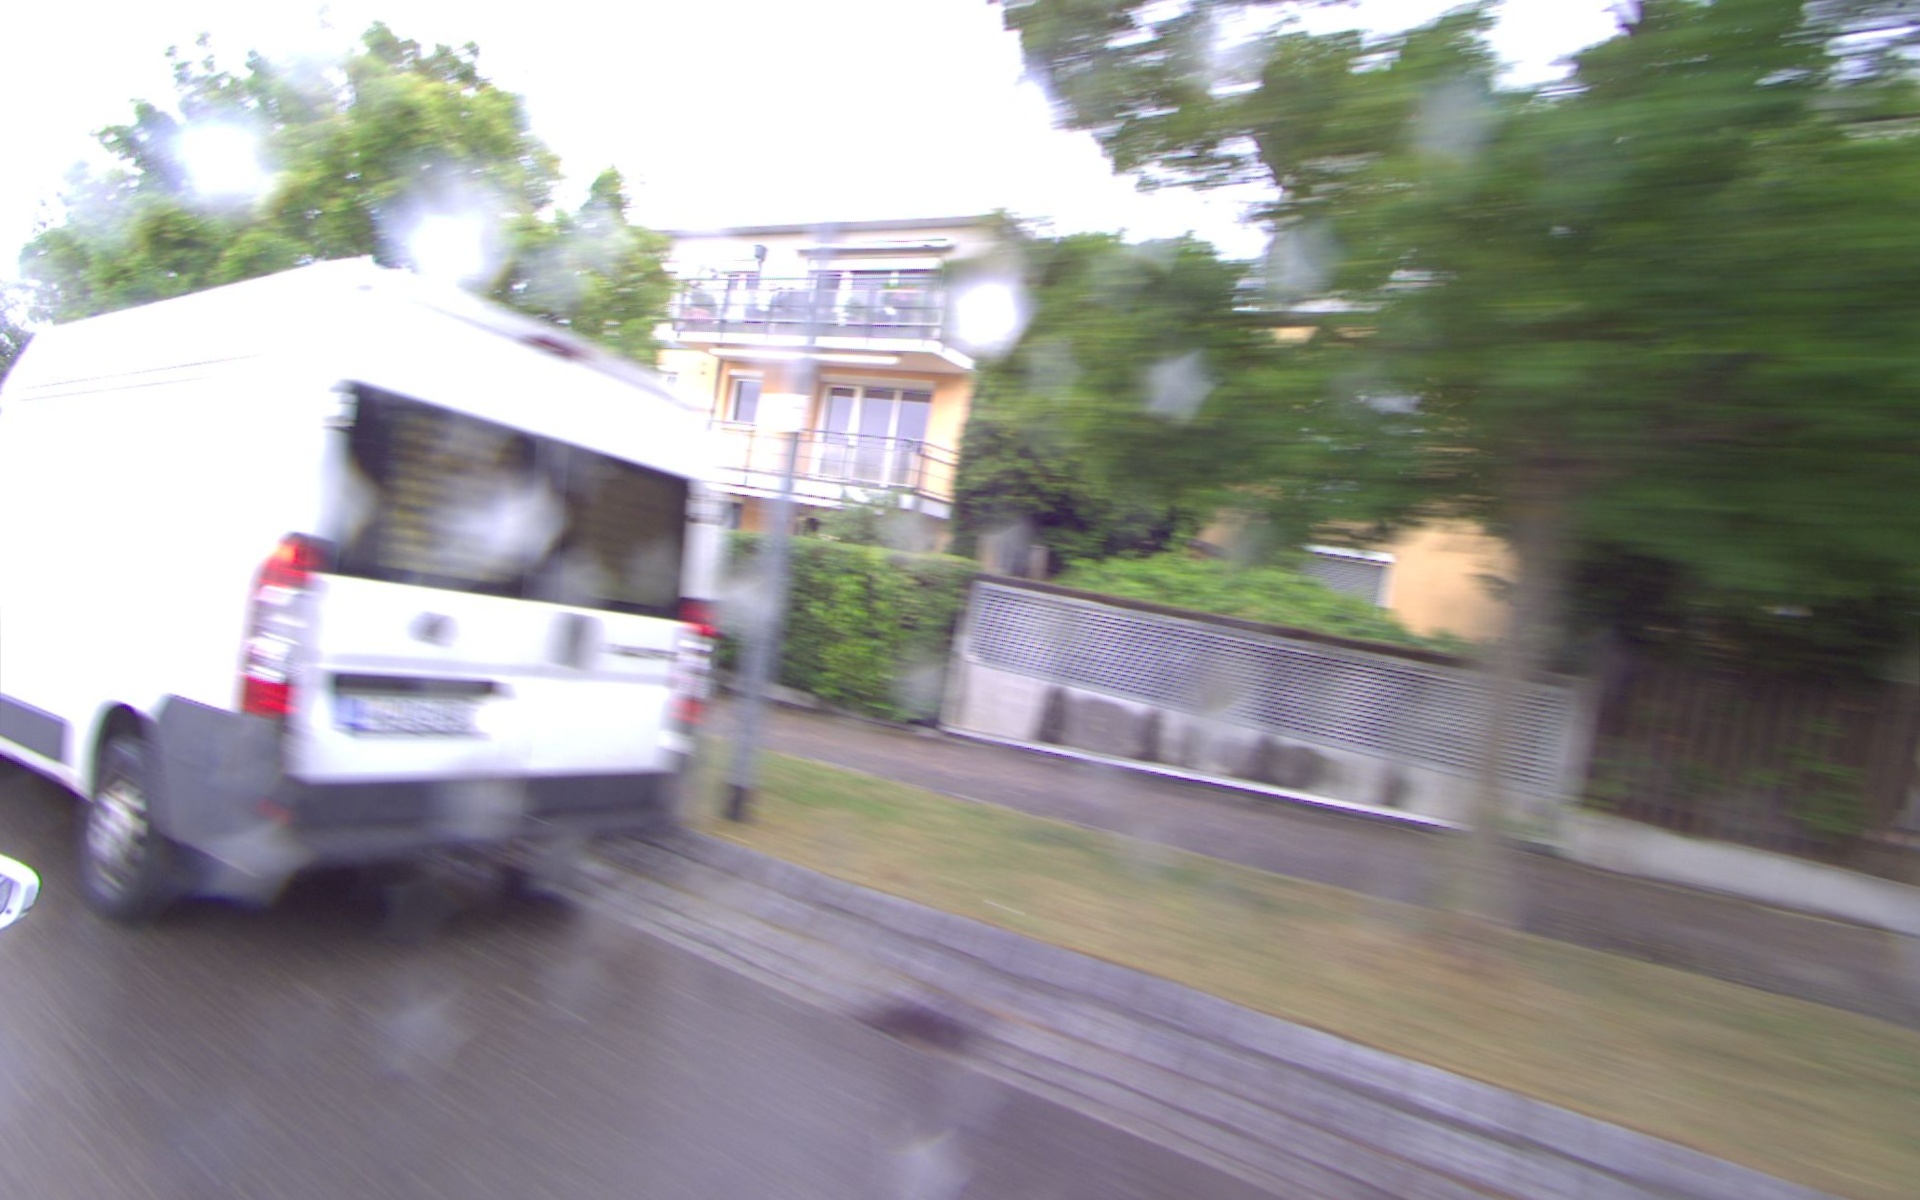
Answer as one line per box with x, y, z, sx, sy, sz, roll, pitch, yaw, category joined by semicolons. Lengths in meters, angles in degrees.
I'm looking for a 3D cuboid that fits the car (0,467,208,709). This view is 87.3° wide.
-8.613;-0.289;8.863;4.527;1.723;1.810;7;-1;36;car

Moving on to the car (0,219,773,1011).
-3.892;-0.115;5.524;5.420;2.496;2.121;7;-1;33;car
